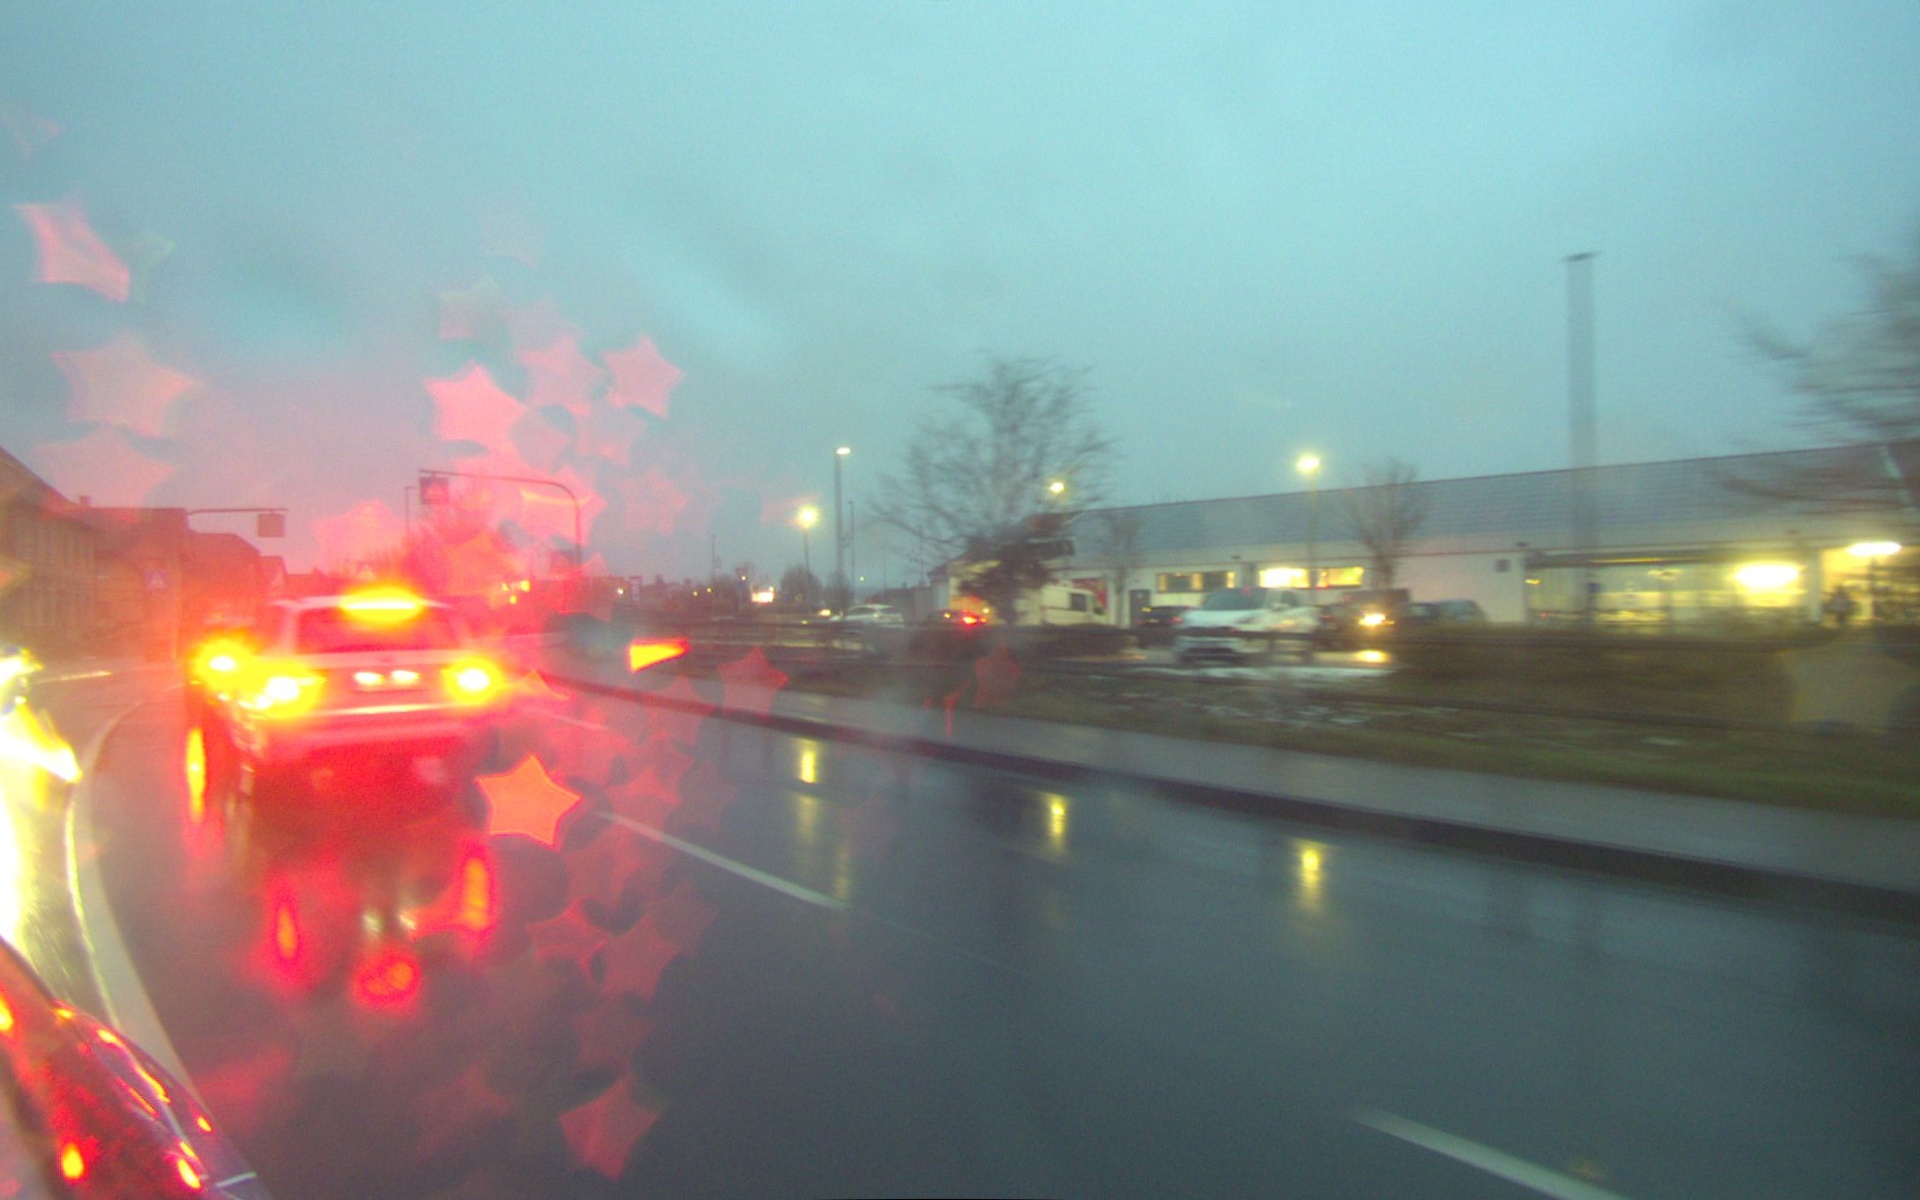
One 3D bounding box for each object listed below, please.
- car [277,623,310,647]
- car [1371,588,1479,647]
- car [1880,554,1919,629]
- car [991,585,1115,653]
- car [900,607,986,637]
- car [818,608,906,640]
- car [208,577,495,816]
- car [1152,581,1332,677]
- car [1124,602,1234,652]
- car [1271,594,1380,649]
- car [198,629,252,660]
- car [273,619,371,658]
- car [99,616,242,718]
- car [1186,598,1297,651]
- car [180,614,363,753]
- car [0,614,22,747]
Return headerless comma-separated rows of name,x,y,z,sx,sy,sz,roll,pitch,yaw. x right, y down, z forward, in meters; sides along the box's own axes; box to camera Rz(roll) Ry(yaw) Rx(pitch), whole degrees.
car,-53.536,2.796,81.349,1.916,1.819,4.185,-1,-1,-30
car,13.882,0.558,30.061,2.051,1.575,4.390,-3,-3,36
car,22.302,-0.163,22.593,2.051,1.575,4.390,-3,-3,36
car,3.526,0.751,37.348,2.214,2.300,5.138,-3,-3,36
car,-0.983,1.205,55.581,4.650,1.548,1.865,-1,0,40
car,-5.123,1.244,52.477,4.782,1.548,1.666,-1,0,40
car,-5.961,0.745,9.633,1.749,1.736,4.430,-1,-1,-39
car,5.869,0.538,20.630,2.029,1.724,4.728,-2,-1,35
car,7.548,0.952,34.624,2.051,1.575,4.390,-3,-3,36
car,11.546,0.713,31.773,2.051,1.575,4.390,-3,-3,36
car,-37.833,2.291,52.187,1.747,1.441,3.808,-2,-1,-29
car,-26.513,1.564,42.212,1.968,1.484,4.007,-2,0,-8
car,-13.471,1.051,17.467,1.640,1.497,4.010,-1,0,-34
car,9.223,0.823,32.909,2.051,1.575,4.390,-3,-3,36
car,-9.162,0.985,13.432,1.748,1.506,4.051,-1,-1,-36
car,-13.237,1.033,12.782,1.749,1.654,4.429,-1,-1,-39
